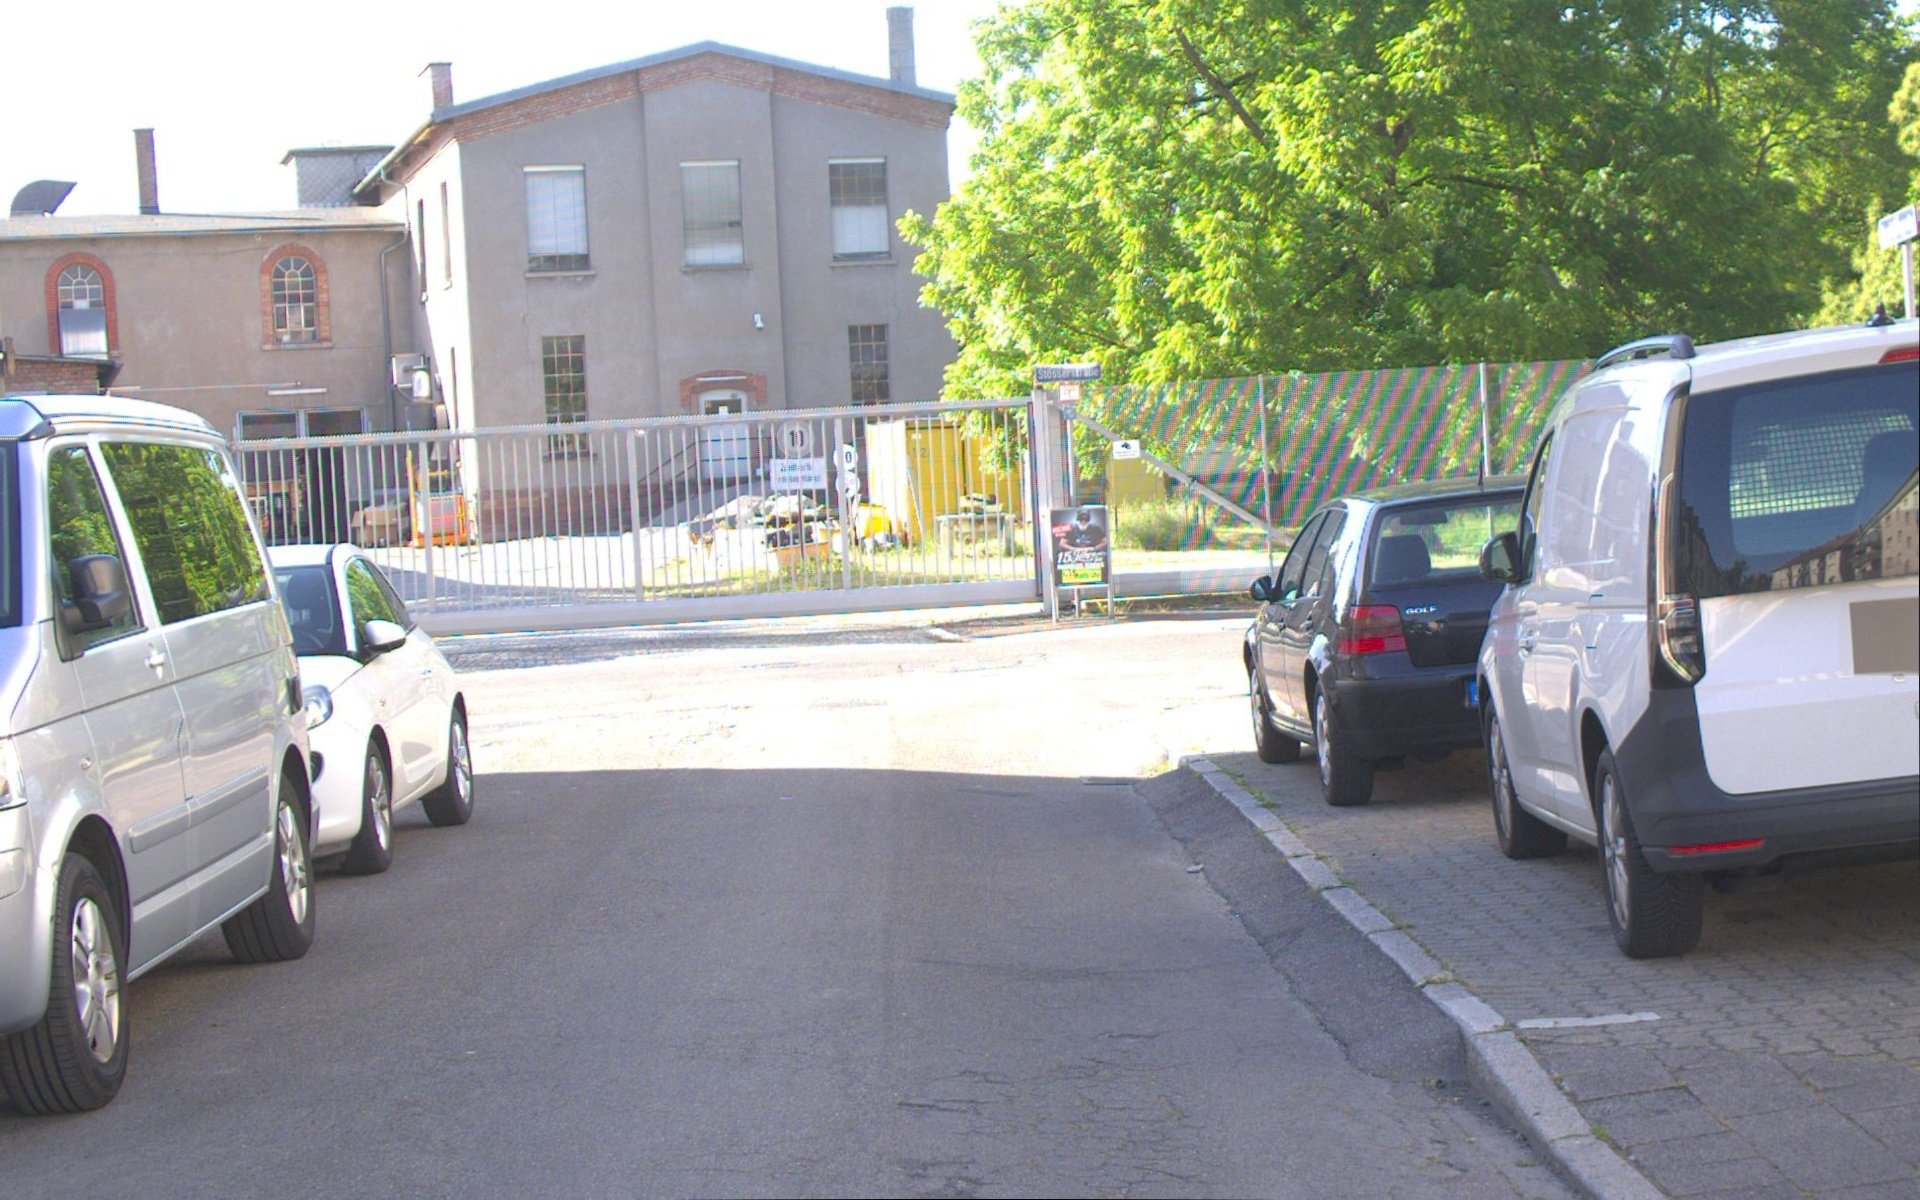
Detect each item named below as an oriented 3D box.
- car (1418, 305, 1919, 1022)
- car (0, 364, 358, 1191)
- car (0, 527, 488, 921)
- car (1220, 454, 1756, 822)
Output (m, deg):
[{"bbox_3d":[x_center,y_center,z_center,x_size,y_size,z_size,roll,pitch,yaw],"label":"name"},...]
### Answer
[{"bbox_3d":[2.771,0.040,11.395,1.798,1.839,4.540,-6,2,1],"label":"car"},{"bbox_3d":[-3.243,0.402,10.354,1.951,1.926,4.857,-5,2,-1],"label":"car"},{"bbox_3d":[-3.363,0.481,15.991,1.687,1.454,3.722,-5,2,1],"label":"car"},{"bbox_3d":[2.423,0.097,16.784,1.797,1.410,4.050,-6,2,-1],"label":"car"}]
